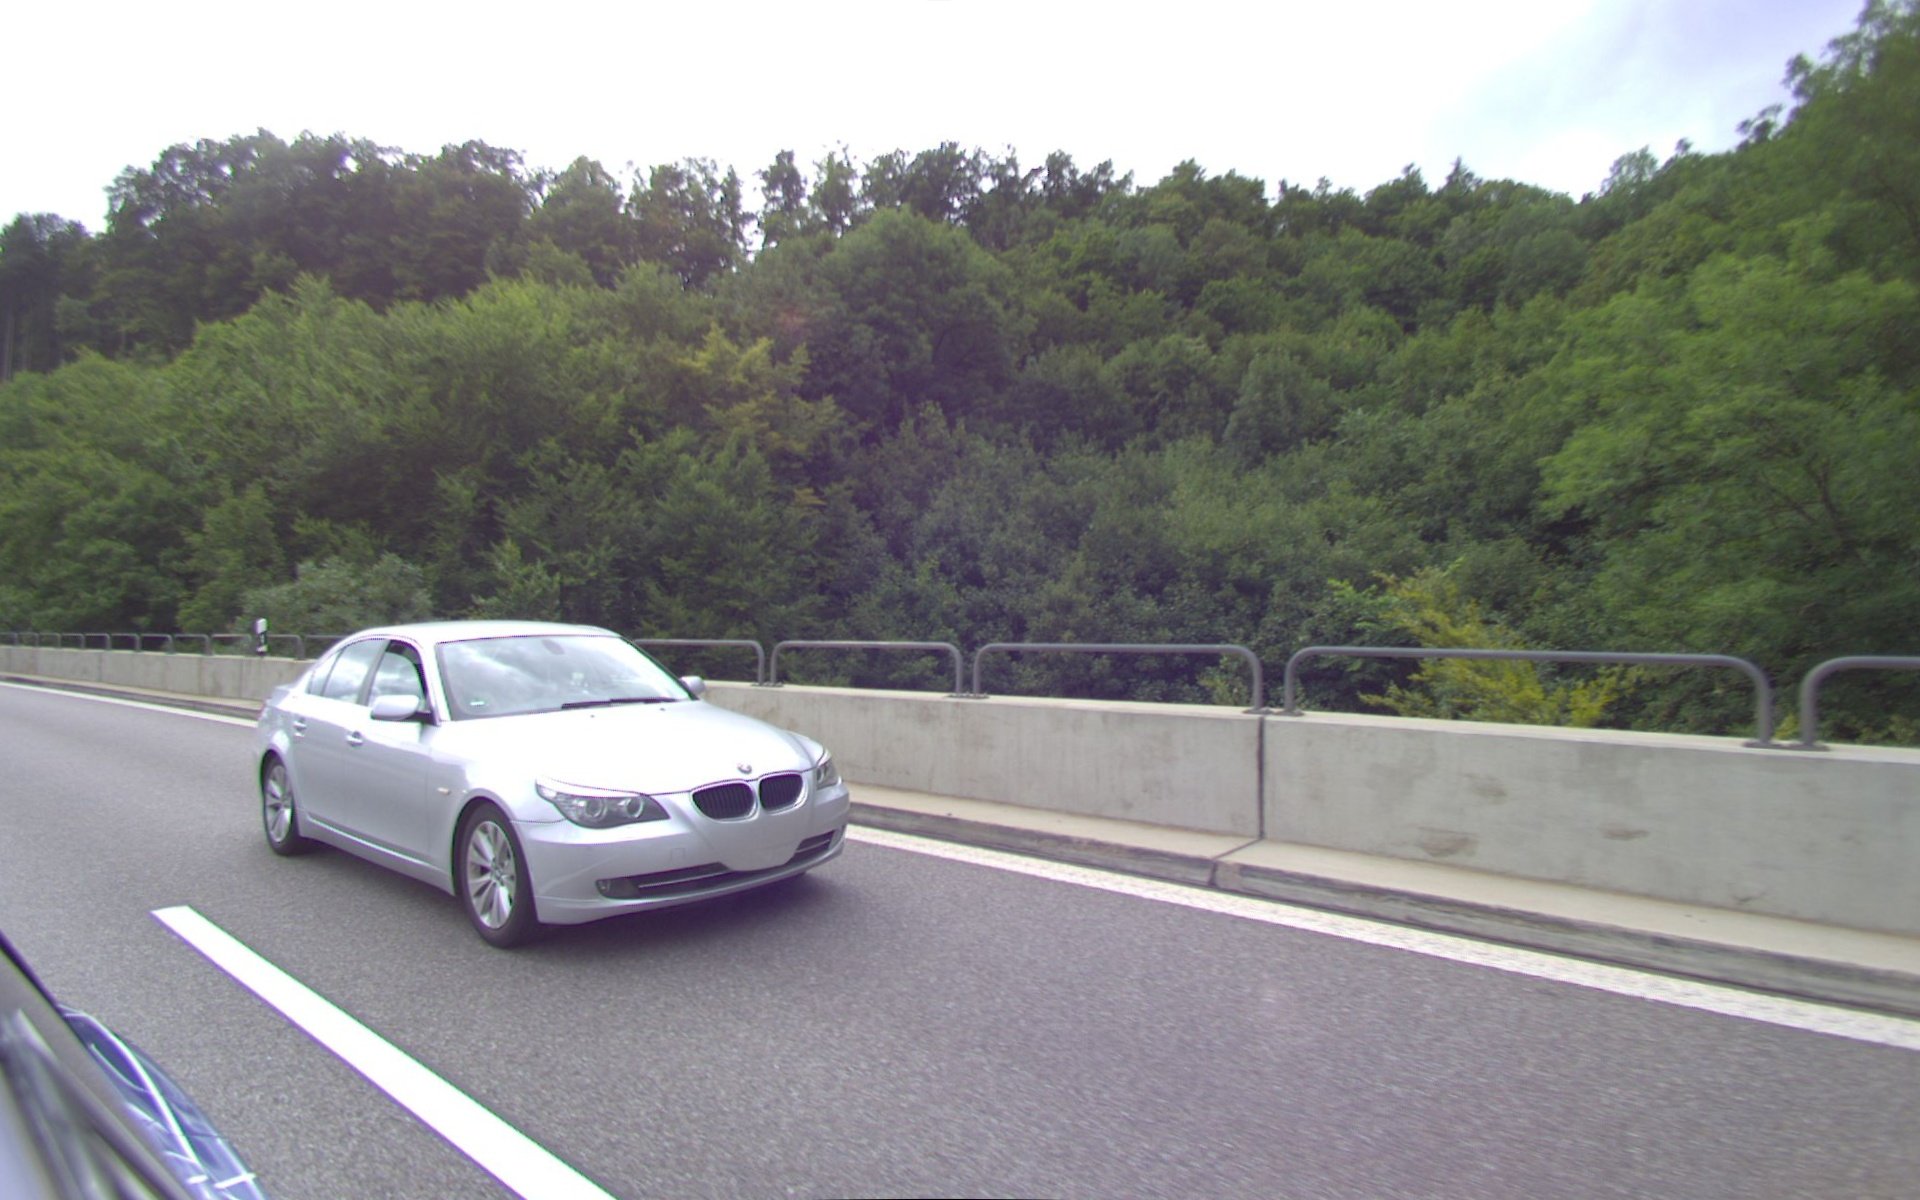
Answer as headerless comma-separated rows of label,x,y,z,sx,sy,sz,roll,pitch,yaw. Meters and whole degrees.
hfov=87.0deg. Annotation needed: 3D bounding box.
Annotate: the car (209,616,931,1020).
car,-2.691,0.865,6.092,5.130,1.468,1.810,-2,-1,40
